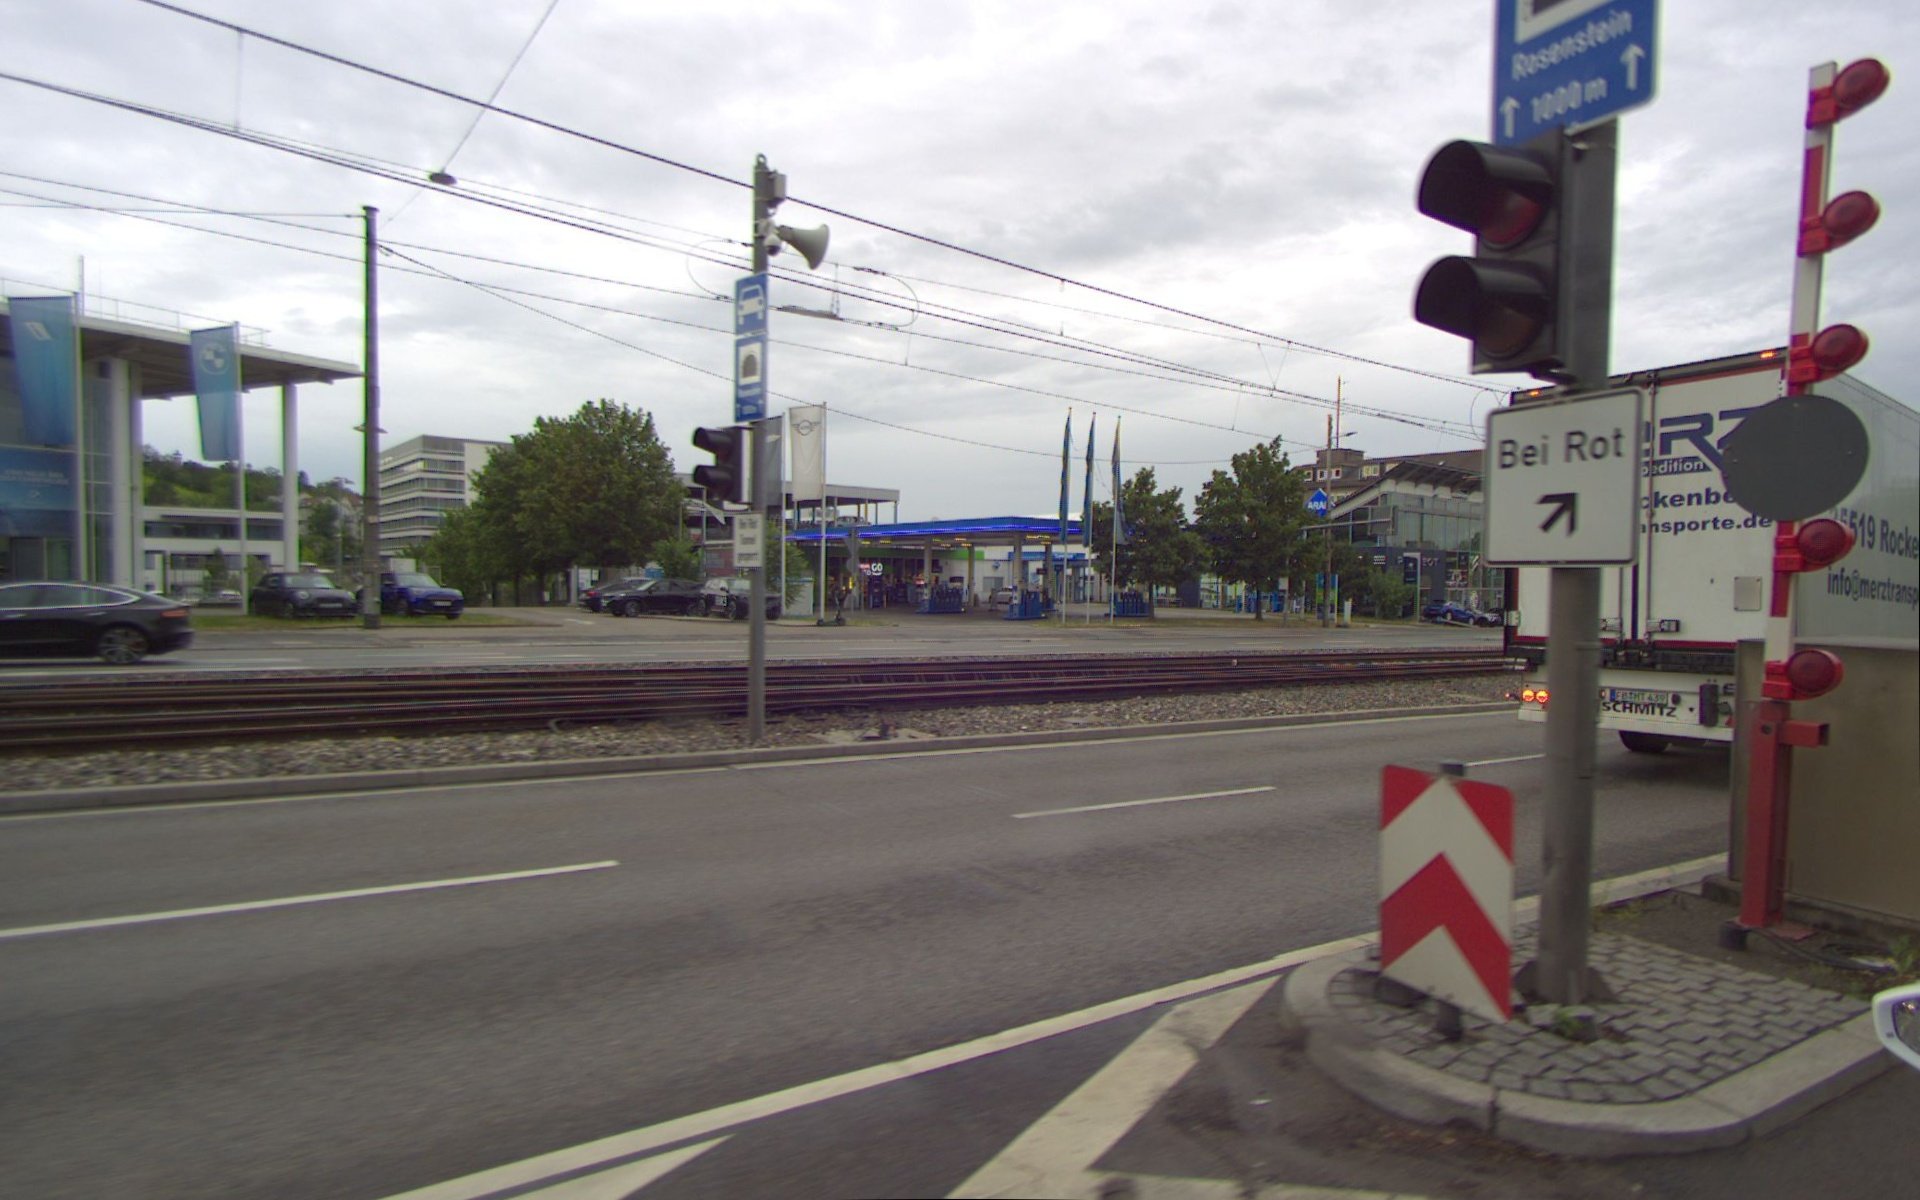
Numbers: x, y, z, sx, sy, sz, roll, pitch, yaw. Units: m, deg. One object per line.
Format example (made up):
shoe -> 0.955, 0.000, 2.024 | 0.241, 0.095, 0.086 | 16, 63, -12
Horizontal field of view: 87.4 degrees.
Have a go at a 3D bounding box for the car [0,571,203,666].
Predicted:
car -> -15.606, 0.291, 17.098 | 4.300, 1.536, 1.729 | 1, 0, -37

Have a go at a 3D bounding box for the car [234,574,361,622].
car -> -19.503, -0.104, 29.558 | 3.931, 1.252, 1.698 | 2, 3, 33

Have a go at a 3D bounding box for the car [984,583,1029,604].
car -> 3.918, -0.563, 85.276 | 1.838, 1.662, 3.961 | 1, 1, -34

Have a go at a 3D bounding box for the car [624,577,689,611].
car -> -14.986, -0.302, 49.637 | 2.777, 1.594, 1.371 | 1, 1, -39

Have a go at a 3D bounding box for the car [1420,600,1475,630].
car -> 35.636, 1.094, 73.423 | 4.027, 1.629, 1.751 | 8, -3, -33

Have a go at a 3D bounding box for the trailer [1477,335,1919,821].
trailer -> 11.855, -0.088, 13.819 | 13.051, 4.309, 2.744 | 1, -1, -35

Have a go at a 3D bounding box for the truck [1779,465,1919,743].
truck -> 17.061, 0.109, 17.542 | 6.244, 4.261, 2.738 | 1, -1, -35

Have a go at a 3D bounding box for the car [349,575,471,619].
car -> -17.571, -0.112, 32.062 | 3.932, 1.251, 1.756 | 2, 0, 33

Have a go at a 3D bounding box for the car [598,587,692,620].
car -> -13.158, 0.140, 41.998 | 3.403, 1.260, 1.572 | 2, 1, -40

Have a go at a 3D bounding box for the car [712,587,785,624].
car -> -8.312, 0.204, 39.327 | 1.698, 1.291, 3.496 | 2, 1, -32
